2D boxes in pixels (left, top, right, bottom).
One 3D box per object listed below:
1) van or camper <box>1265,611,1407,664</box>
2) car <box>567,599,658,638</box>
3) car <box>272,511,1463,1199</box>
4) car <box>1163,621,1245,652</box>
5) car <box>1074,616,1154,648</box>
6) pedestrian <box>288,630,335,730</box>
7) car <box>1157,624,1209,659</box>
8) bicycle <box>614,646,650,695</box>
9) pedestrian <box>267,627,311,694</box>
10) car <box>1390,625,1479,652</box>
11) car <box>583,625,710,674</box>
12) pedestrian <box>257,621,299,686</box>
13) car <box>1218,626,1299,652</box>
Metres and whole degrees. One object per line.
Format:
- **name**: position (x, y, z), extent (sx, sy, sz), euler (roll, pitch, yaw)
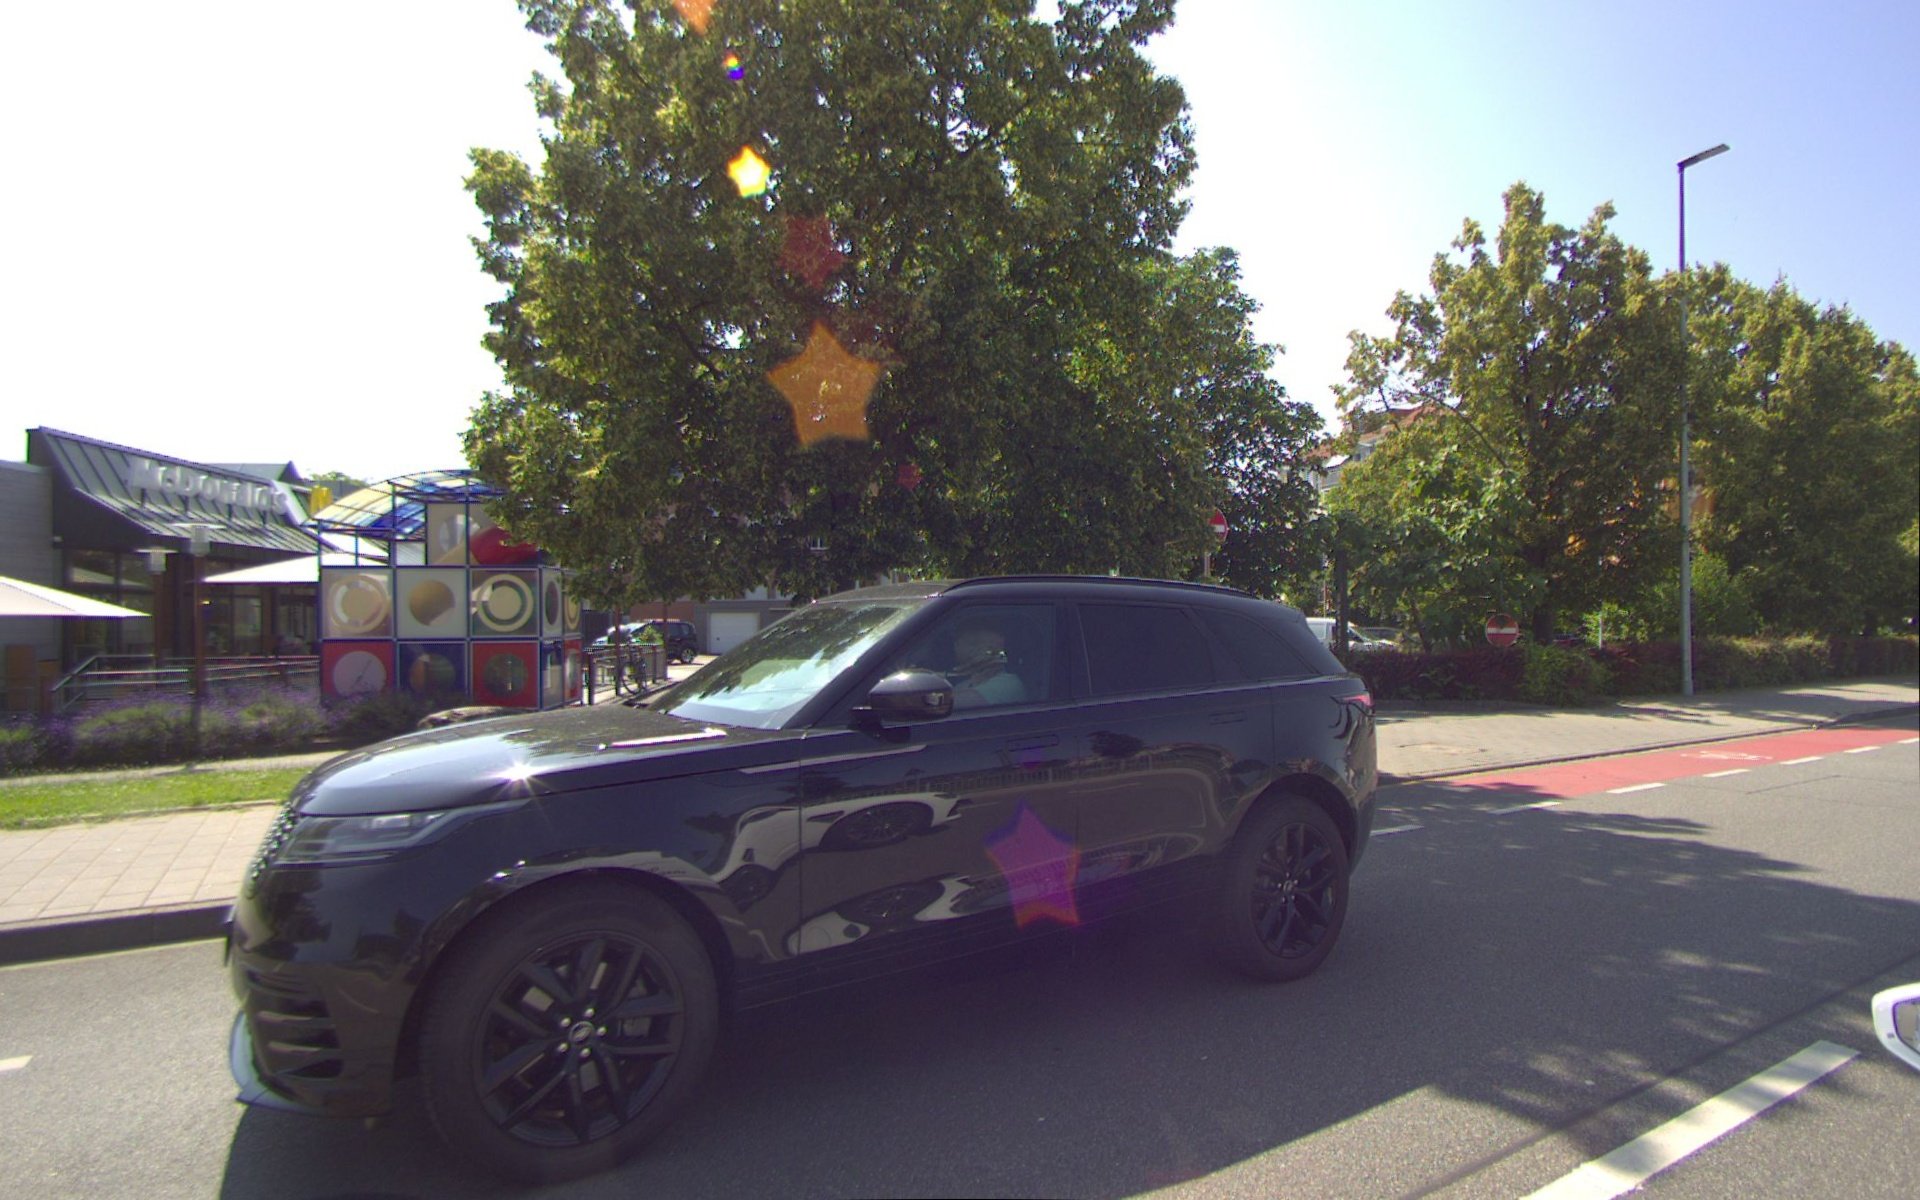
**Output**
- **van or camper**: position (13.100, 1.293, 35.126), extent (4.221, 1.763, 1.990), euler (-2, -2, 40)
- **car**: position (-20.106, 1.079, 58.289), extent (4.718, 2.206, 1.996), euler (0, -1, -11)
- **car**: position (-0.097, 0.703, 4.261), extent (4.562, 1.717, 1.939), euler (0, -2, -33)
- **car**: position (13.152, 1.970, 54.298), extent (1.787, 1.619, 3.948), euler (1, -2, -44)
- **car**: position (8.230, 1.703, 53.813), extent (1.787, 1.619, 3.948), euler (1, -2, -44)
- **pedestrian**: position (-13.610, 1.644, 21.096), extent (0.743, 2.040, 0.829), euler (0, -1, -28)
- **car**: position (10.489, 1.927, 47.376), extent (1.473, 1.546, 3.432), euler (0, -1, -4)
- **bicycle**: position (-7.273, 1.554, 22.339), extent (0.302, 1.005, 1.858), euler (0, -1, -4)
- **pedestrian**: position (-15.491, 1.382, 23.205), extent (0.743, 1.493, 0.829), euler (0, -1, -28)
- **car**: position (26.853, 2.145, 56.894), extent (4.221, 1.458, 1.990), euler (-2, -2, 40)
- **car**: position (-11.753, 1.811, 37.847), extent (1.750, 1.707, 4.325), euler (-2, -2, 42)
- **pedestrian**: position (-16.187, 1.259, 23.859), extent (0.743, 1.493, 0.829), euler (0, -1, -28)
- **car**: position (16.350, 2.118, 55.070), extent (3.933, 1.356, 1.581), euler (-1, -2, 34)
